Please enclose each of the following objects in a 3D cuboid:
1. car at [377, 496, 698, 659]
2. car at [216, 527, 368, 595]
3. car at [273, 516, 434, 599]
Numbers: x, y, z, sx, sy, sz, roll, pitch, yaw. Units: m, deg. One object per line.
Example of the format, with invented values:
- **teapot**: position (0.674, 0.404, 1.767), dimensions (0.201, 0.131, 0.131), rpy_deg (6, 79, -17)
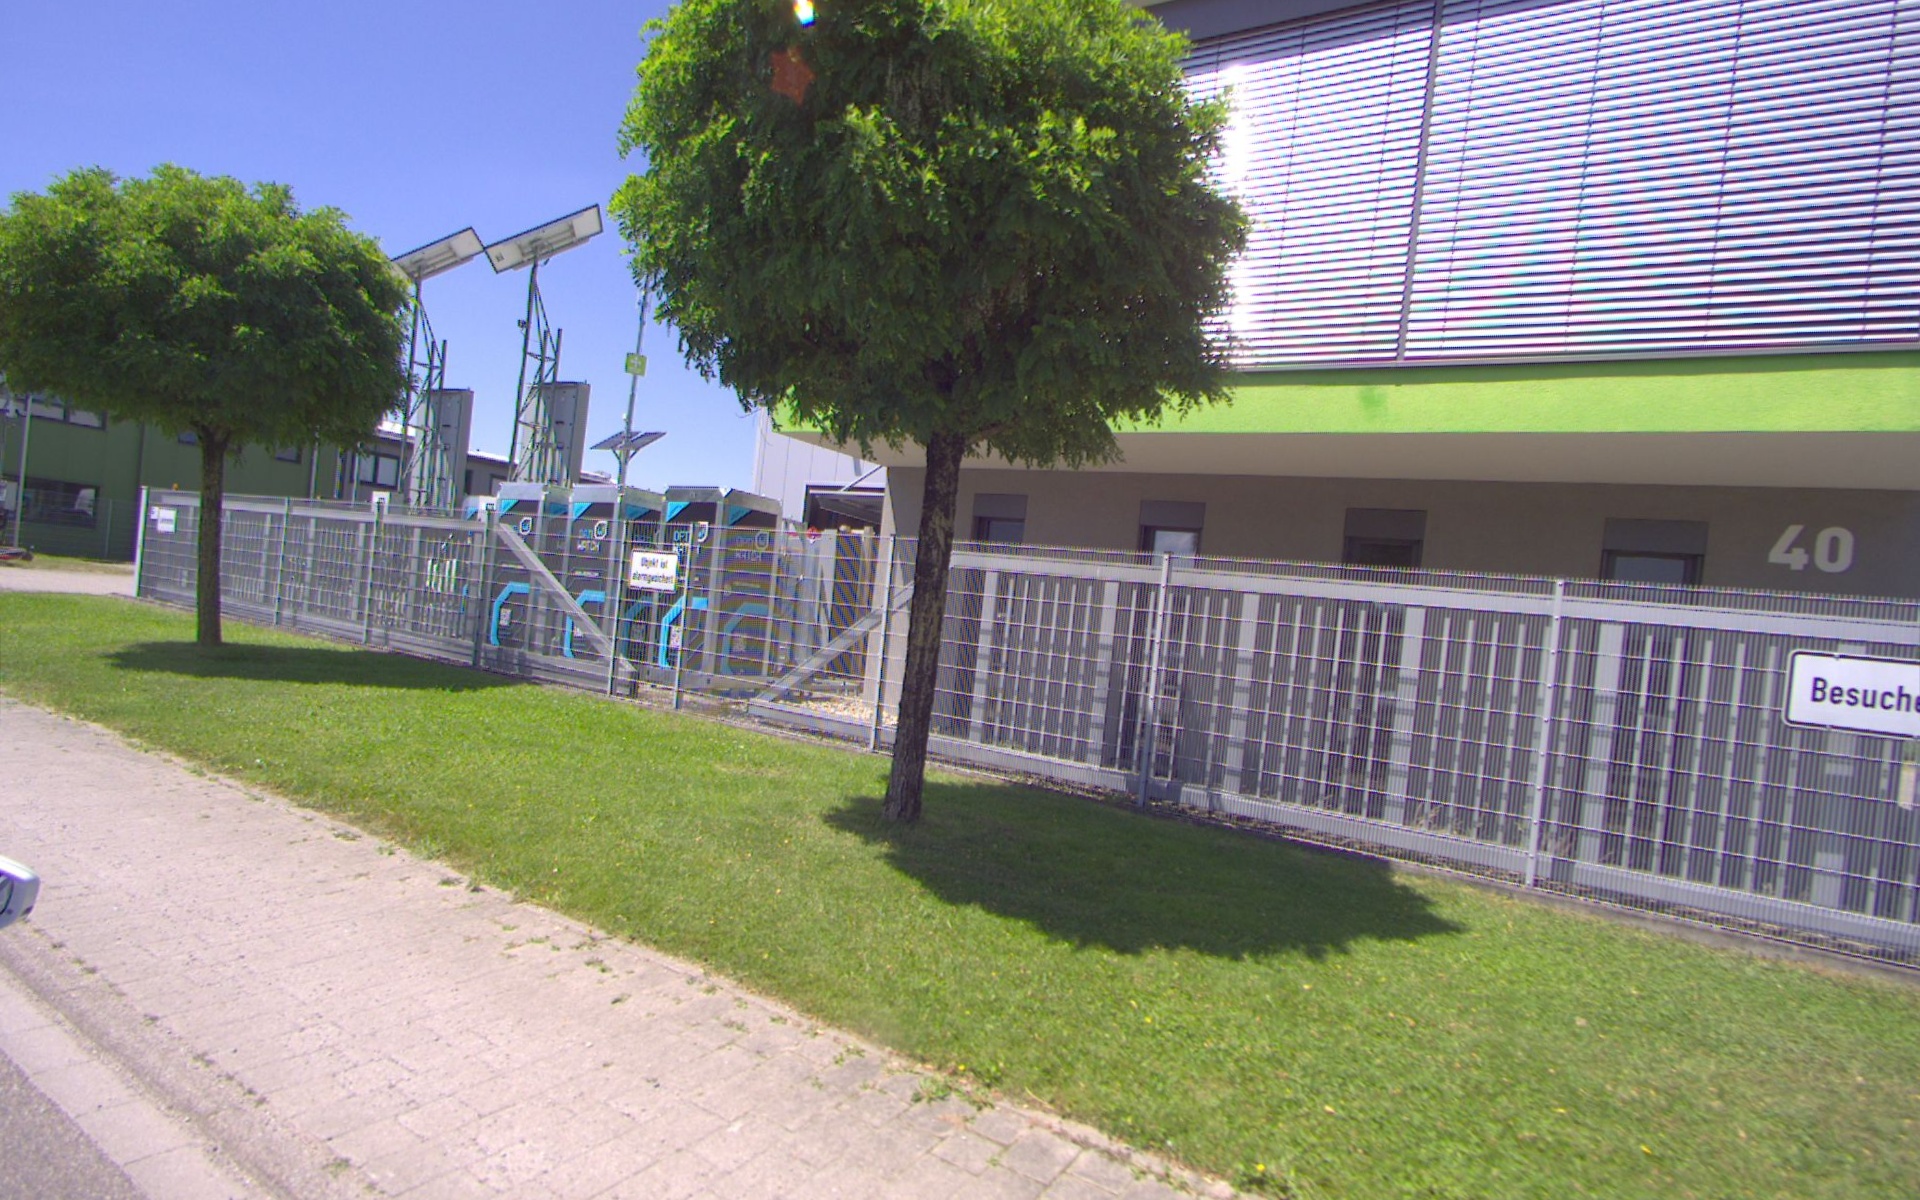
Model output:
- **car**: position (-8.445, -0.525, 19.718), dimensions (6.910, 2.527, 2.129), rpy_deg (6, 2, 32)
- **car**: position (-19.744, -1.164, 29.678), dimensions (4.536, 1.456, 1.995), rpy_deg (7, 0, 32)
- **car**: position (-19.358, -1.390, 32.028), dimensions (5.562, 2.021, 1.995), rpy_deg (7, 0, 32)
